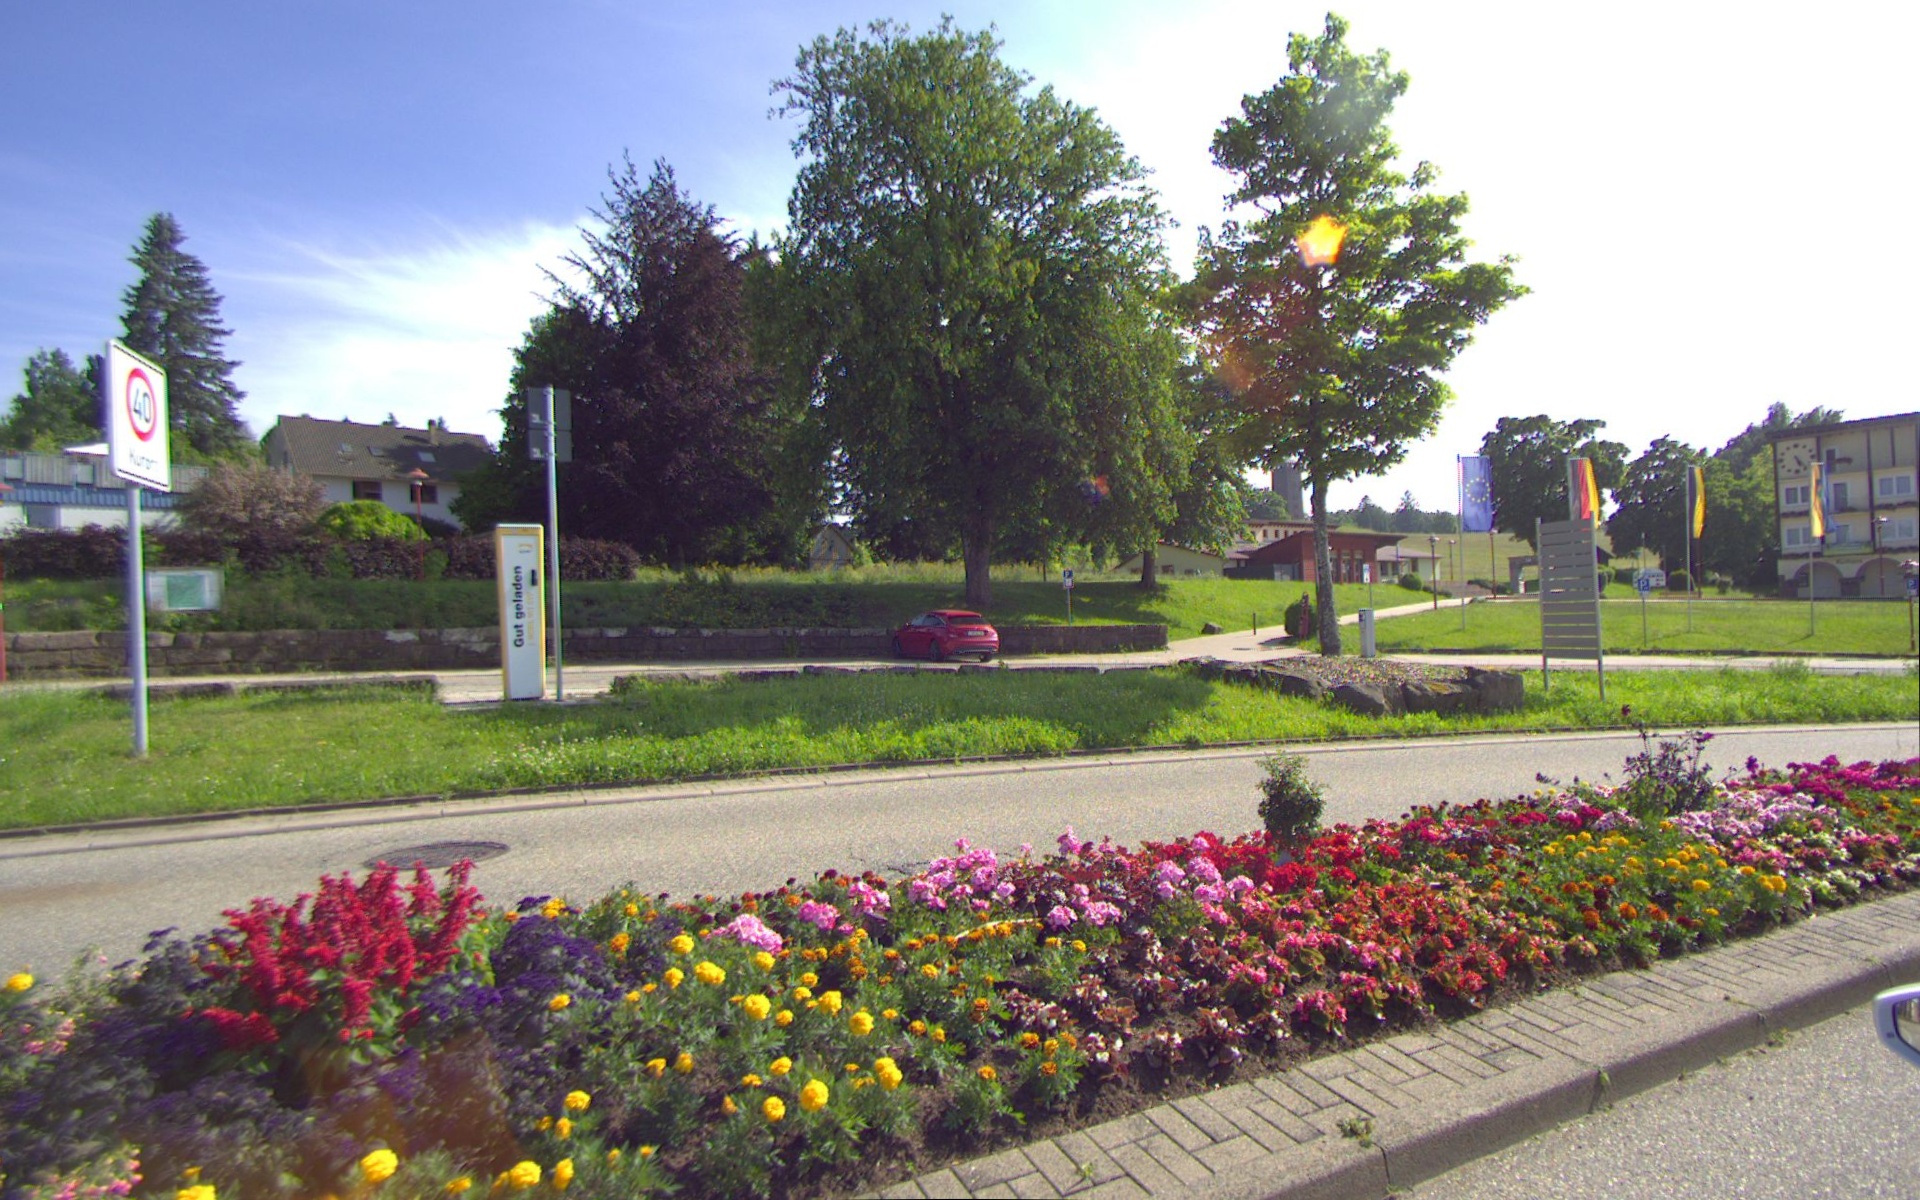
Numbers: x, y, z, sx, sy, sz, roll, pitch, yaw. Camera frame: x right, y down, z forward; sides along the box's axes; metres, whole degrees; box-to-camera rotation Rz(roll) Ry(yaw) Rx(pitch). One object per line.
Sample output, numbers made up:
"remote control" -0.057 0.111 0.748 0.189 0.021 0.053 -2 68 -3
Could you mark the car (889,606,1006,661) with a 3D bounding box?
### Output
"car" -0.455 0.912 29.093 1.799 1.417 4.210 0 0 -26
